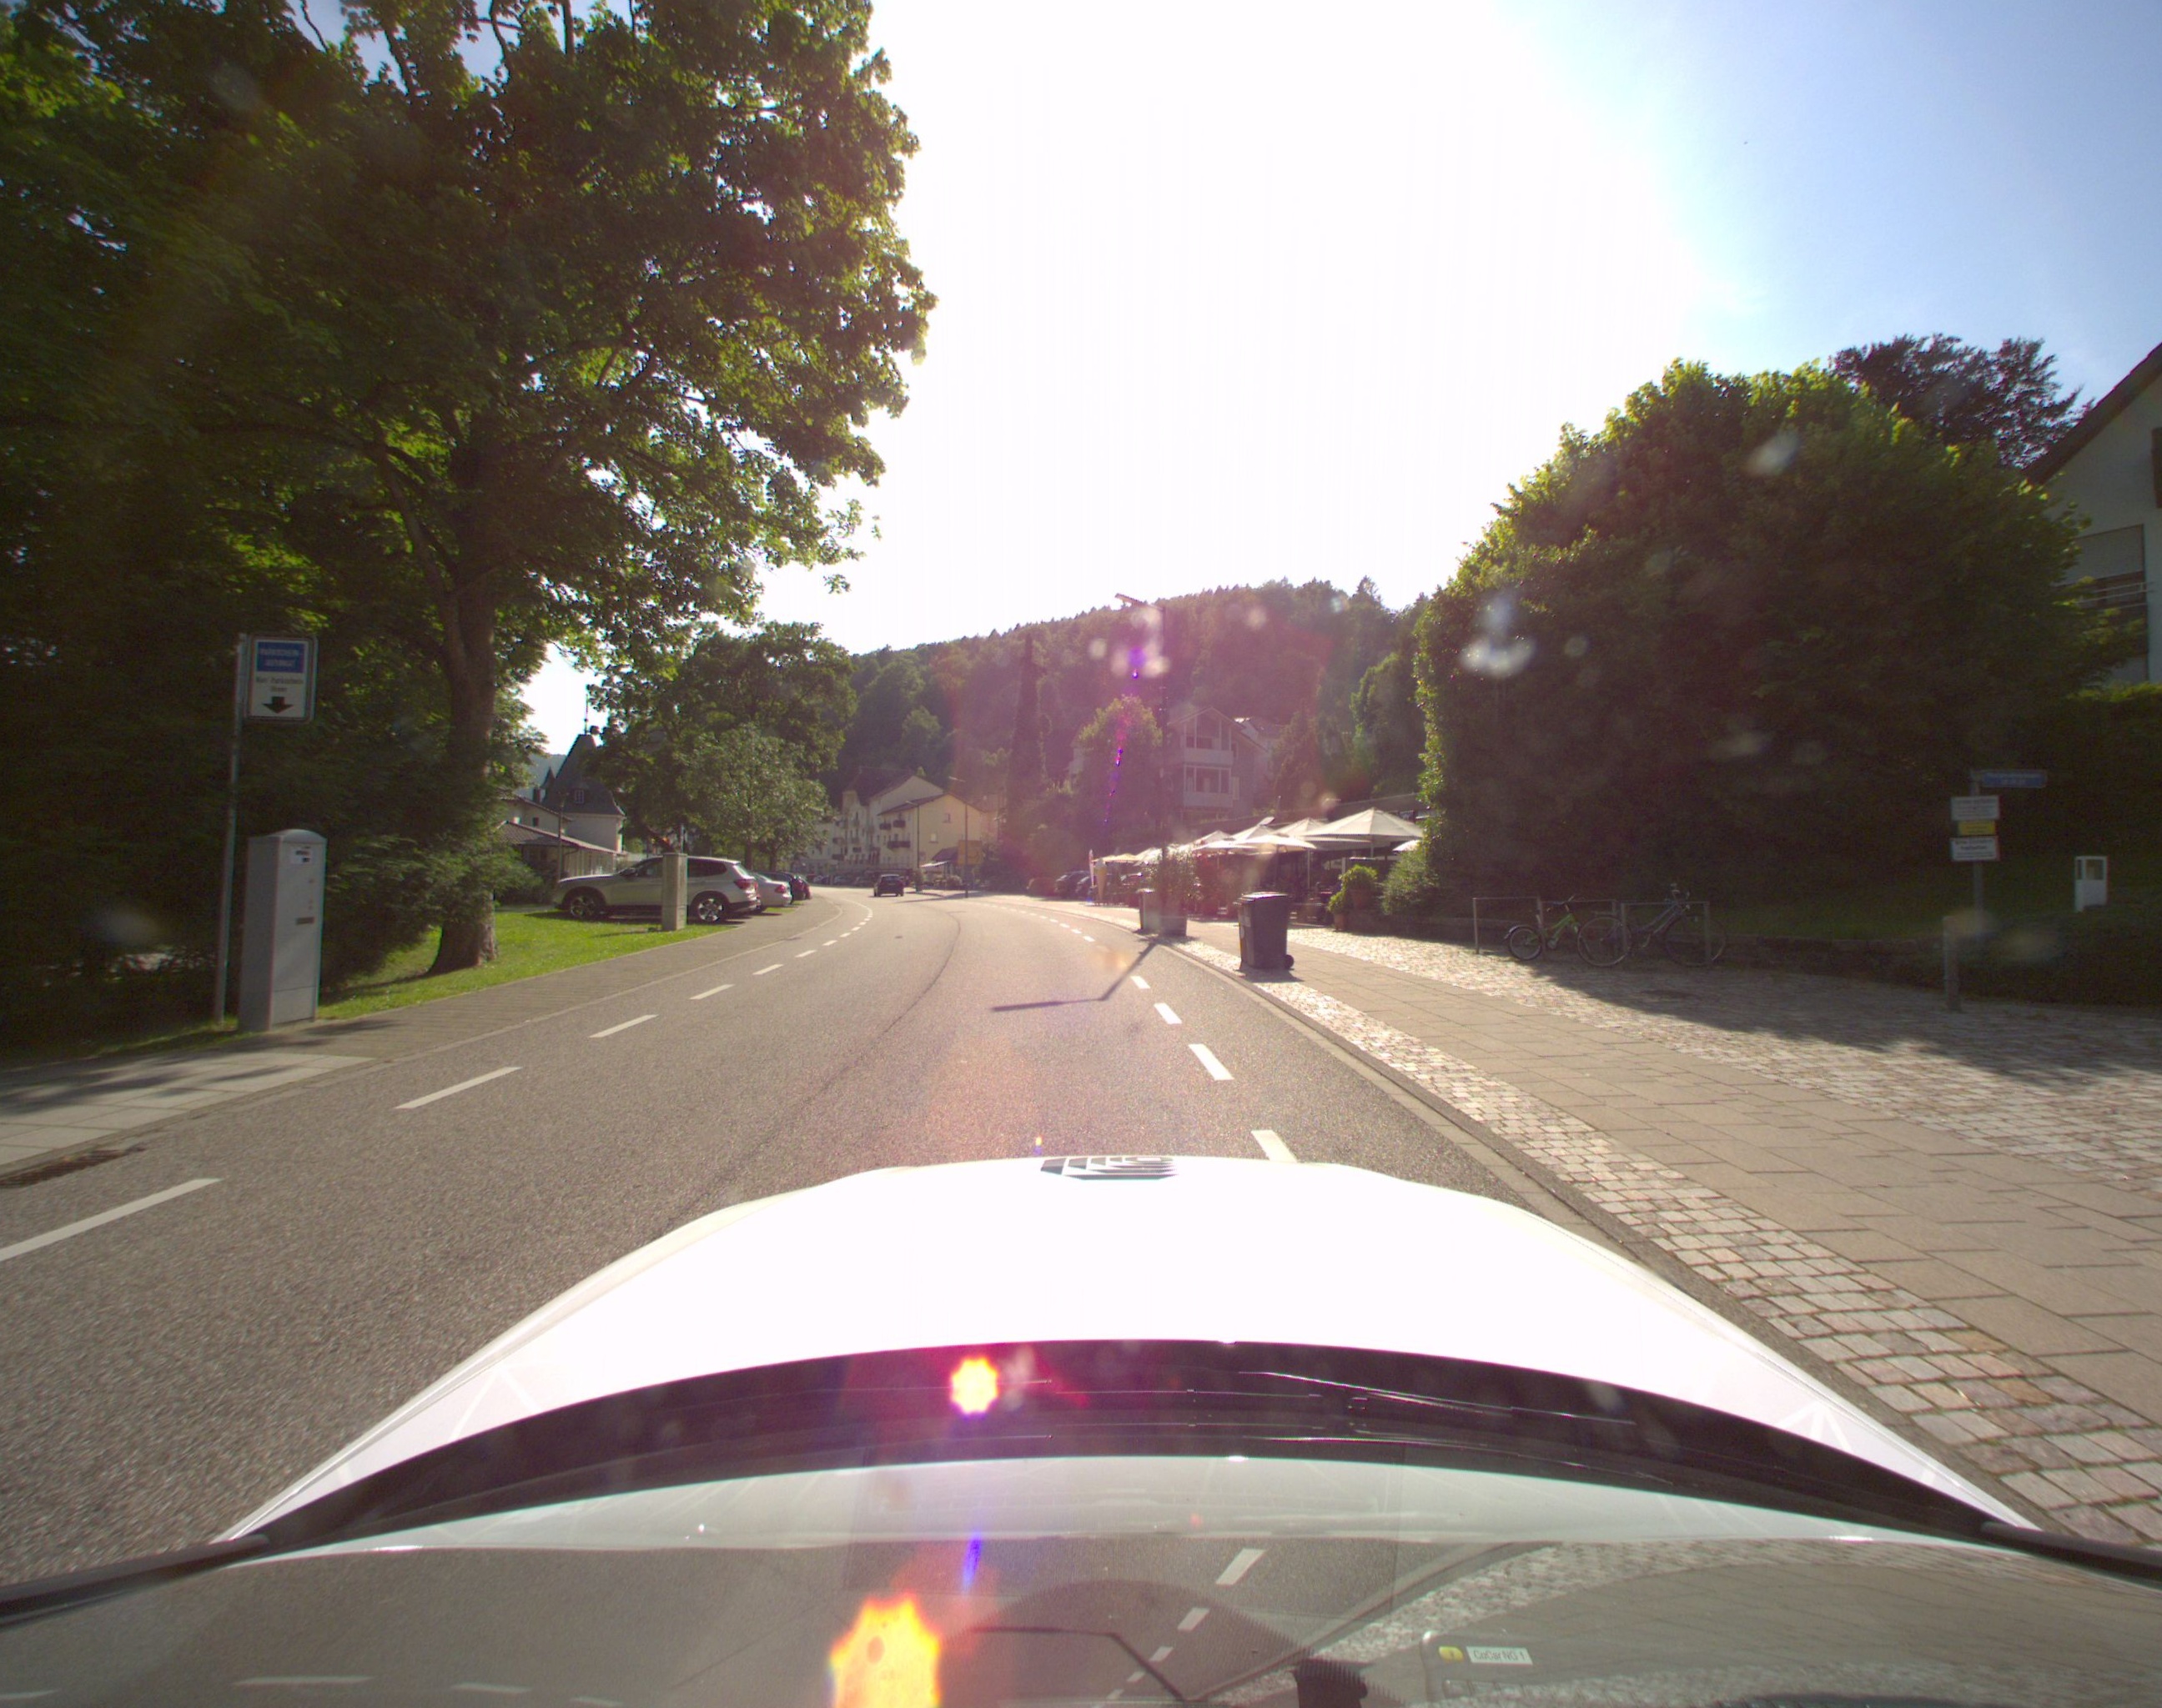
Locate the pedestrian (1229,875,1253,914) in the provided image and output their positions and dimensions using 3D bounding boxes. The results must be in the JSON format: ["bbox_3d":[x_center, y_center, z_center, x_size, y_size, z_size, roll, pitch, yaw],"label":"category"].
[{"bbox_3d":[5.219,1.320,26.544,0.475,1.245,0.587,0,-3,-35],"label":"pedestrian"}]

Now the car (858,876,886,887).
[{"bbox_3d":[-32.826,4.368,128.106,3.885,1.555,1.742,5,-4,-32],"label":"car"}]

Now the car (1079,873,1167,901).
[{"bbox_3d":[2.184,1.691,42.271,4.274,1.379,1.698,0,-2,-19],"label":"car"}]

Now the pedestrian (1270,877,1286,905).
[{"bbox_3d":[8.548,1.592,35.358,0.681,1.209,0.703,-1,-2,13],"label":"pedestrian"}]

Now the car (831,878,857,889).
[{"bbox_3d":[-40.841,5.093,140.356,3.933,1.589,1.758,5,-3,-30],"label":"car"}]

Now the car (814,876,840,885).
[{"bbox_3d":[-46.964,4.860,150.551,4.380,1.461,1.756,4,-4,-27],"label":"car"}]

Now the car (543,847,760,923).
[{"bbox_3d":[-10.680,0.831,20.646,4.493,1.664,1.799,3,-4,-17],"label":"car"}]

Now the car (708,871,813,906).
[{"bbox_3d":[-14.622,1.582,37.205,4.296,1.432,1.698,2,-2,-26],"label":"car"}]

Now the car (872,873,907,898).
[{"bbox_3d":[-13.629,2.231,57.823,1.734,1.574,3.724,3,-1,-23],"label":"car"}]

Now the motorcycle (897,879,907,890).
[{"bbox_3d":[-21.279,3.581,96.684,0.700,1.296,2.194,-2,-1,-23],"label":"motorcycle"}]

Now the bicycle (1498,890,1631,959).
[{"bbox_3d":[6.821,1.000,11.541,1.532,0.909,0.386,-3,-1,14],"label":"bicycle"}]

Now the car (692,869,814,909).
[{"bbox_3d":[-13.498,1.449,33.709,4.509,1.510,1.701,3,-3,-21],"label":"car"}]

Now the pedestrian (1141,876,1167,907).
[{"bbox_3d":[3.064,1.564,34.214,0.814,1.261,0.694,0,-2,-28],"label":"pedestrian"}]

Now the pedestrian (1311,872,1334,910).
[{"bbox_3d":[8.436,1.293,28.453,0.573,1.304,0.642,-2,-2,35],"label":"pedestrian"}]

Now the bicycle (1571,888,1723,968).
[{"bbox_3d":[7.211,0.947,10.433,1.532,0.983,0.386,-2,-1,14],"label":"bicycle"}]

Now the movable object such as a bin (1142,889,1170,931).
[{"bbox_3d":[1.695,1.263,18.439,0.513,0.912,0.440,-1,-1,-9],"label":"movable object such as a bin"}]

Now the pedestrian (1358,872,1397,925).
[{"bbox_3d":[7.513,1.113,20.622,0.650,1.284,0.641,0,-2,-21],"label":"pedestrian"}]

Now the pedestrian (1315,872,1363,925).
[{"bbox_3d":[6.509,1.108,20.550,0.951,1.284,0.641,0,-2,-21],"label":"pedestrian"}]

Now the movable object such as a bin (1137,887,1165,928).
[{"bbox_3d":[1.632,1.240,19.013,0.547,0.926,0.518,-1,-1,-9],"label":"movable object such as a bin"}]

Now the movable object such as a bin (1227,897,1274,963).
[{"bbox_3d":[2.515,1.115,12.100,0.524,0.912,0.562,-1,-1,-6],"label":"movable object such as a bin"}]

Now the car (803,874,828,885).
[{"bbox_3d":[-50.367,4.845,154.369,4.108,1.666,1.756,6,-4,-29],"label":"car"}]

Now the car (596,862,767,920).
[{"bbox_3d":[-11.099,1.054,22.932,3.996,1.433,1.709,3,-3,-17],"label":"car"}]

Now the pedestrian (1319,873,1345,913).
[{"bbox_3d":[8.402,1.310,27.254,0.531,1.304,0.605,0,-2,-22],"label":"pedestrian"}]

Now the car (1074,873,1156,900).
[{"bbox_3d":[1.840,1.776,44.208,4.121,1.415,1.737,0,-2,-19],"label":"car"}]

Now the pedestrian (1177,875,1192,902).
[{"bbox_3d":[4.960,1.642,38.967,0.694,1.261,0.814,-1,-2,7],"label":"pedestrian"}]

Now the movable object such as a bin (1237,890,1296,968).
[{"bbox_3d":[2.623,1.047,11.538,0.655,1.032,0.570,-1,-1,-6],"label":"movable object such as a bin"}]

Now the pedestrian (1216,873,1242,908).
[{"bbox_3d":[5.350,1.319,29.496,0.807,1.261,0.700,0,-2,0],"label":"pedestrian"}]

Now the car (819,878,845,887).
[{"bbox_3d":[-44.213,5.087,144.557,3.932,1.461,1.719,5,-3,-29],"label":"car"}]

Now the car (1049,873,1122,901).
[{"bbox_3d":[0.247,1.882,47.152,3.886,1.580,1.737,0,-2,-19],"label":"car"}]

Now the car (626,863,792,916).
[{"bbox_3d":[-11.614,1.149,25.803,4.493,1.418,1.799,3,-4,-17],"label":"car"}]

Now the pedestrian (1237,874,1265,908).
[{"bbox_3d":[6.332,1.380,30.365,0.802,1.261,0.705,-2,-2,35],"label":"pedestrian"}]

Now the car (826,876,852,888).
[{"bbox_3d":[-42.353,4.980,142.674,3.932,1.805,1.840,5,-5,-29],"label":"car"}]
